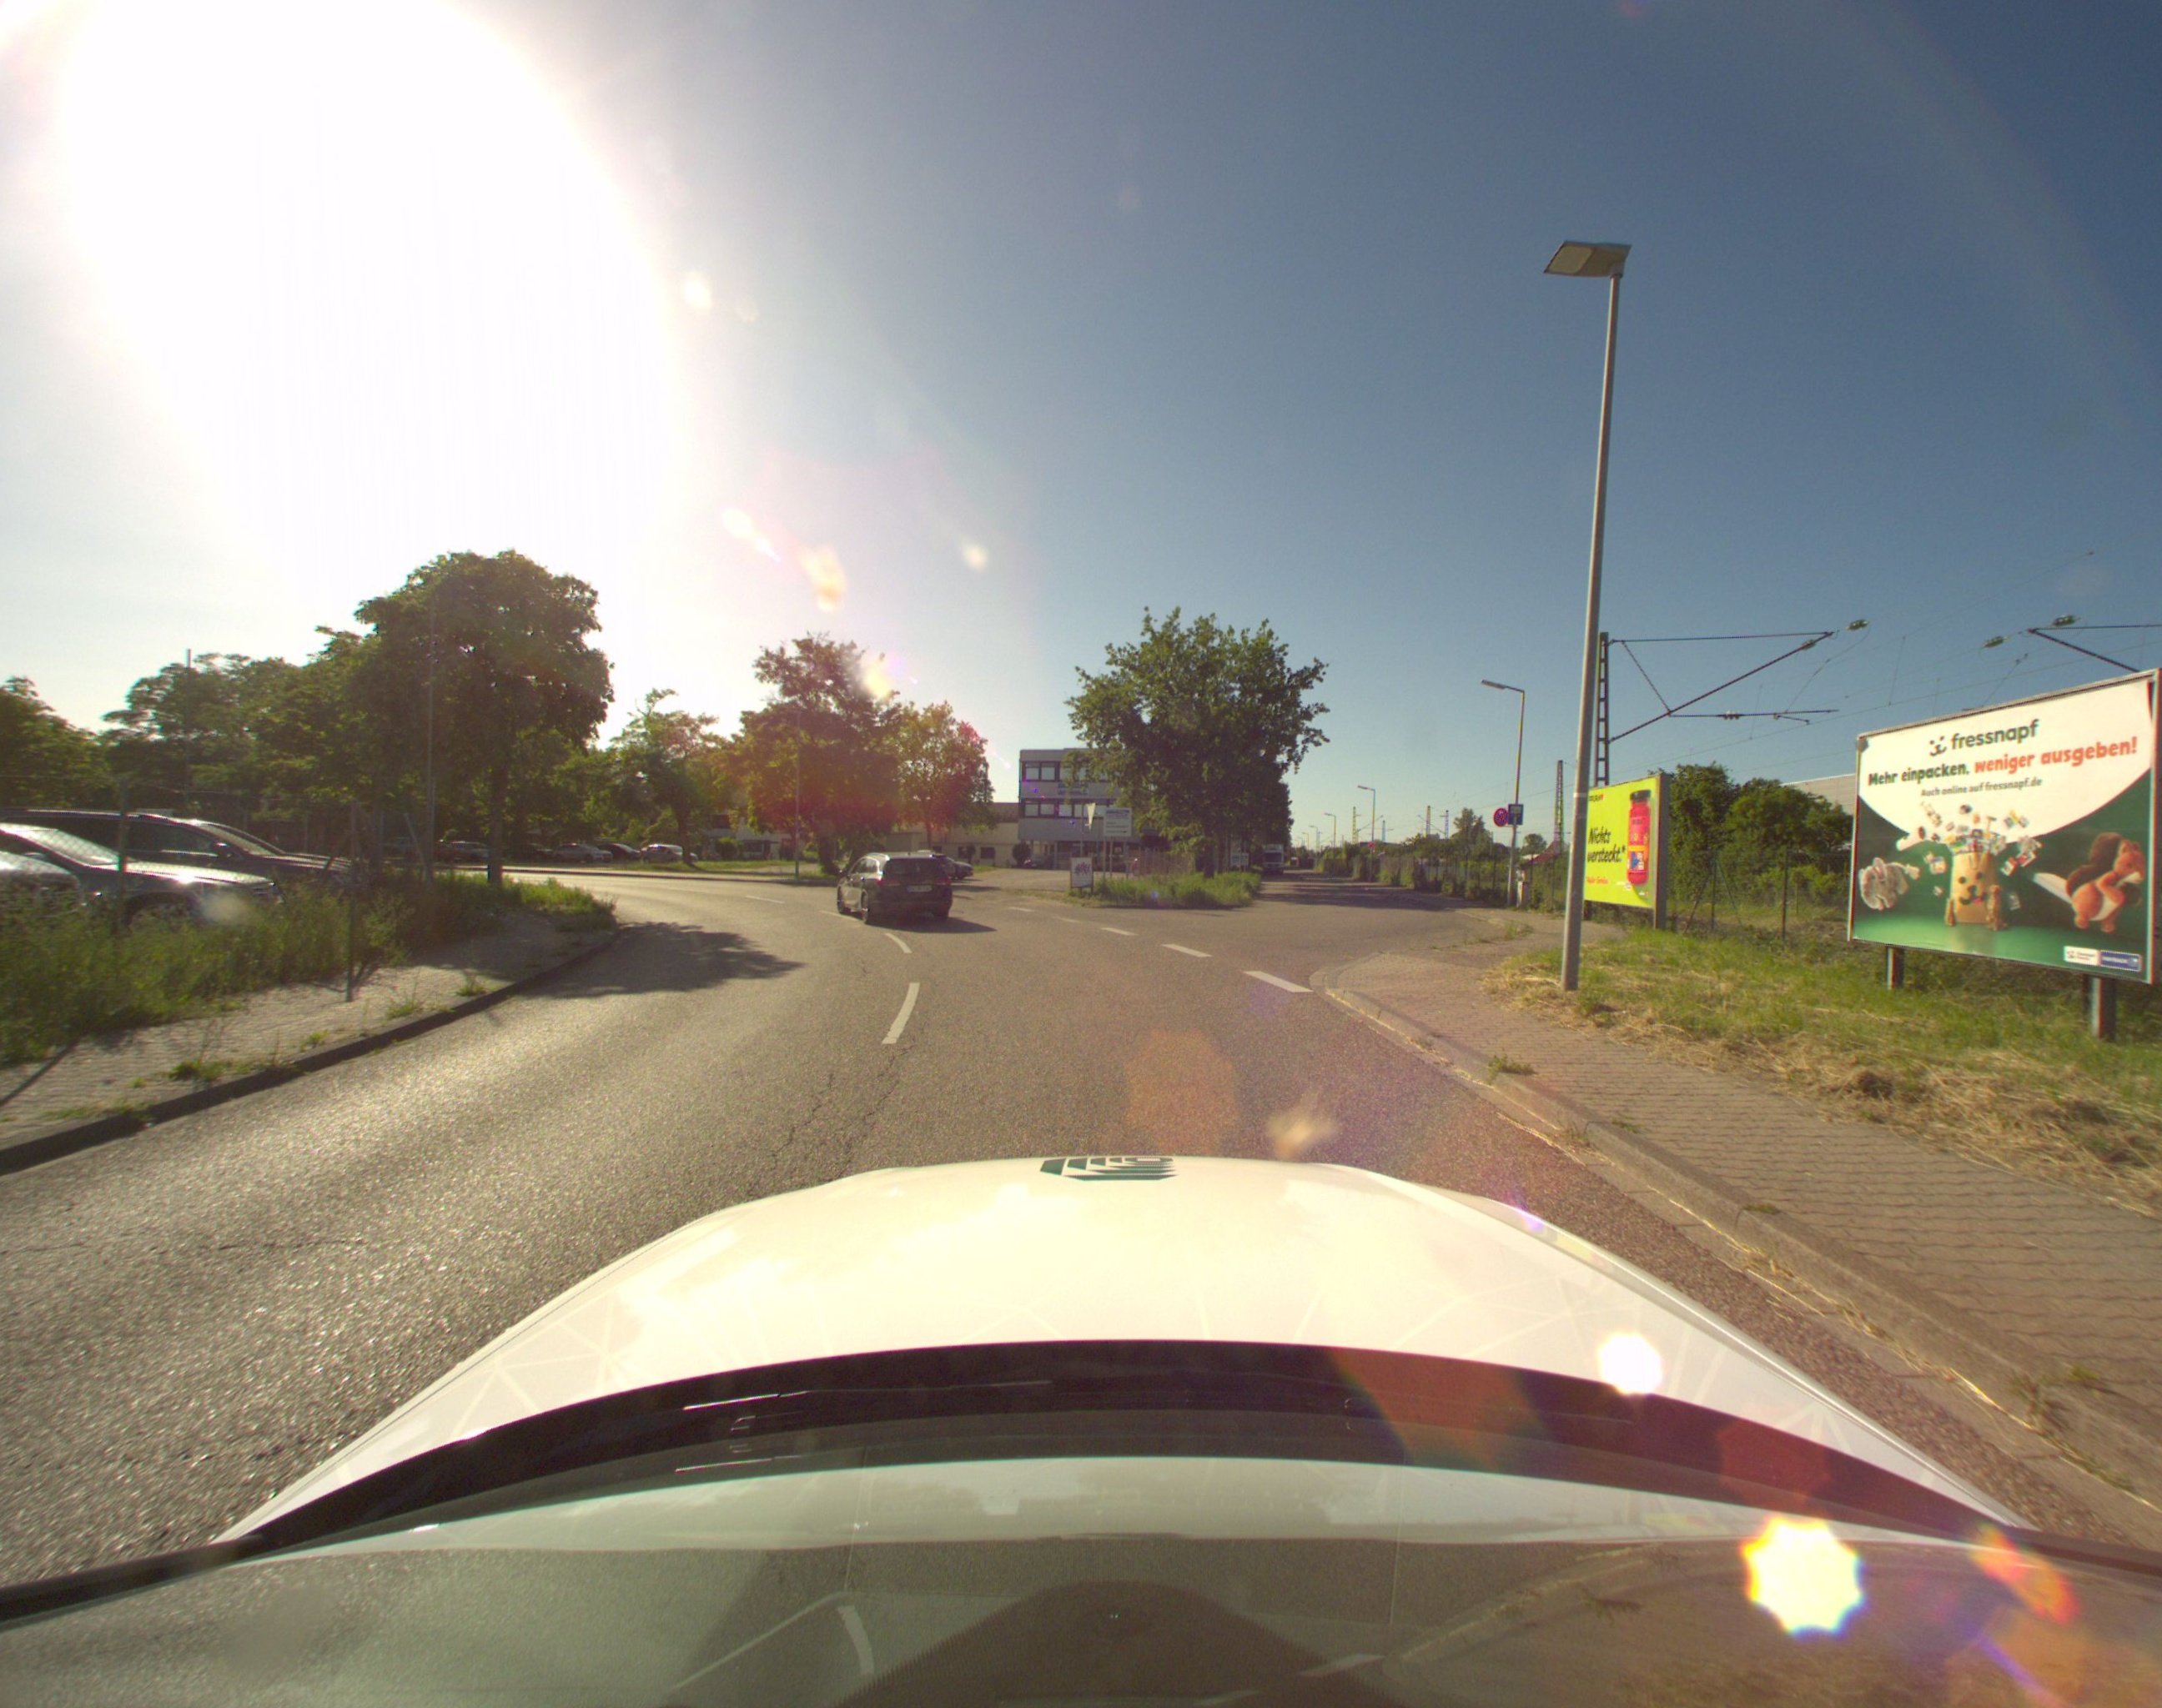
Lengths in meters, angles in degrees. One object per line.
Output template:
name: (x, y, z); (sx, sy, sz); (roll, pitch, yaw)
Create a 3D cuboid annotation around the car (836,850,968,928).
car: (-4.145, 0.669, 18.288); (1.952, 1.488, 4.528); (0, 0, -25)

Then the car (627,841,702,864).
car: (-29.028, -0.131, 56.760); (4.867, 1.484, 2.011); (1, 0, 23)

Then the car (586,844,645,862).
car: (-41.439, -0.070, 72.476); (4.867, 1.484, 2.011); (1, 0, 23)

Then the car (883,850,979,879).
car: (-8.390, 0.589, 45.670); (4.877, 1.484, 2.007); (1, 0, 12)

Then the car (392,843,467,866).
car: (-45.527, 0.014, 56.874); (4.867, 1.484, 2.011); (1, 0, 23)

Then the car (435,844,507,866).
car: (-44.763, 0.054, 59.728); (4.867, 1.484, 2.011); (1, 0, 23)

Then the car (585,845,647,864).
car: (-39.433, 0.006, 69.054); (4.867, 1.484, 2.011); (1, 0, 23)

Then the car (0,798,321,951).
car: (-12.106, 0.209, 9.485); (4.418, 1.648, 1.822); (1, 0, -31)

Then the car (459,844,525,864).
car: (-46.434, -0.011, 64.212); (4.867, 1.484, 2.011); (1, 0, 23)

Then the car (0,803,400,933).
car: (-13.022, 0.190, 12.076); (4.427, 1.648, 1.819); (1, 0, -41)

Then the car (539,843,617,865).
car: (-38.377, -0.001, 62.136); (4.881, 1.484, 2.005); (1, 0, 9)

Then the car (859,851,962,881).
car: (-8.988, 0.619, 43.126); (4.877, 1.426, 2.007); (1, 0, 12)

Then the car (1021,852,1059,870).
car: (-3.685, 0.609, 74.344); (1.978, 1.484, 4.948); (1, 1, 16)

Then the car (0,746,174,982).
car: (-11.121, 0.034, 6.464); (4.856, 1.892, 1.826); (1, 0, -23)

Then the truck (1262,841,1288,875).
truck: (24.068, 0.518, 101.480); (2.596, 3.885, 13.574); (2, 0, 11)
